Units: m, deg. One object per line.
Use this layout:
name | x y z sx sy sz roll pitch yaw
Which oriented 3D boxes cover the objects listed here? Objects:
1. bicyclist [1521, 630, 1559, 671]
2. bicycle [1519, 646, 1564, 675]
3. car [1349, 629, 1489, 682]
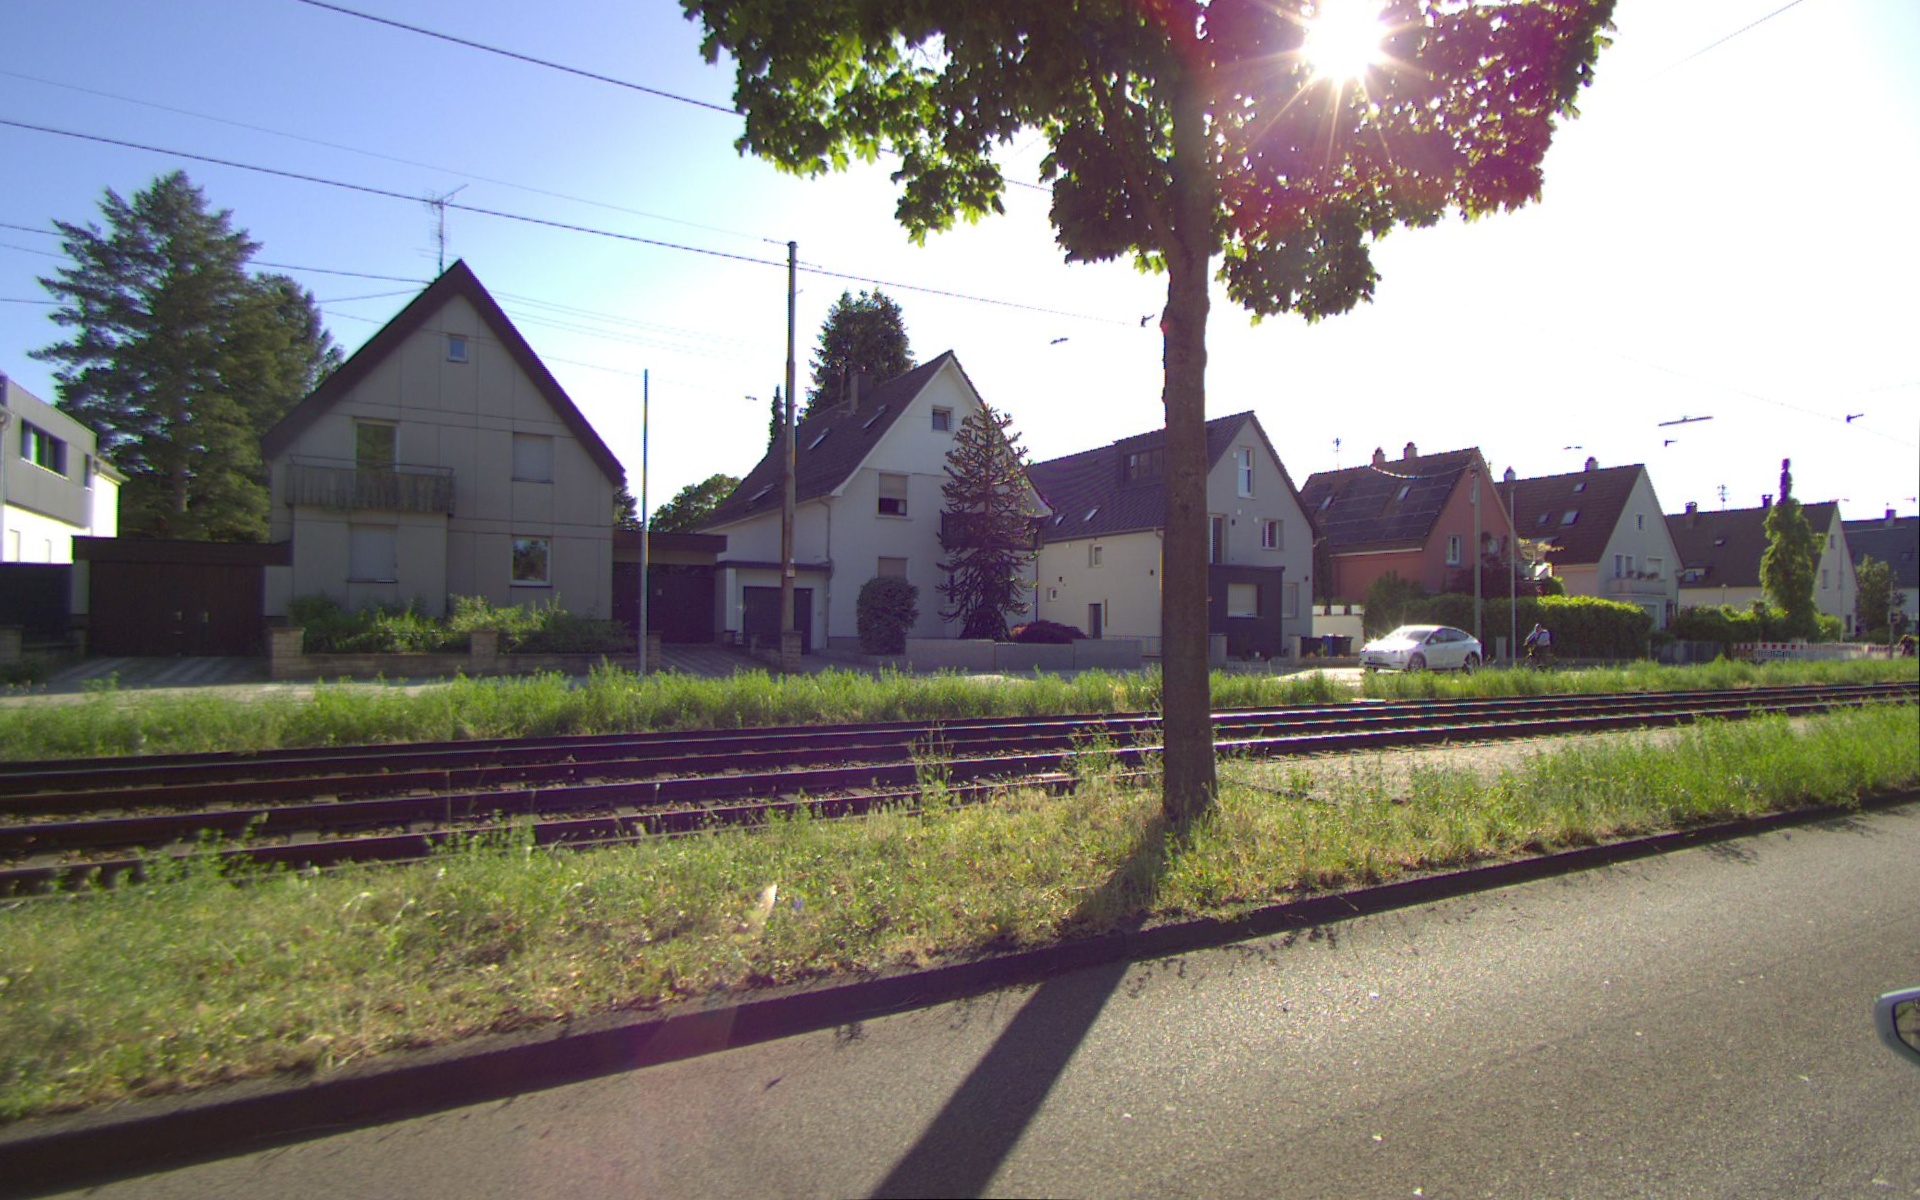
bicyclist | 18.853 1.629 32.656 0.728 1.295 0.794 2 -1 -32
bicycle | 18.955 1.953 32.747 2.040 0.913 0.438 2 -1 -35
car | 15.462 1.855 33.783 4.677 1.620 1.983 2 -1 -31
